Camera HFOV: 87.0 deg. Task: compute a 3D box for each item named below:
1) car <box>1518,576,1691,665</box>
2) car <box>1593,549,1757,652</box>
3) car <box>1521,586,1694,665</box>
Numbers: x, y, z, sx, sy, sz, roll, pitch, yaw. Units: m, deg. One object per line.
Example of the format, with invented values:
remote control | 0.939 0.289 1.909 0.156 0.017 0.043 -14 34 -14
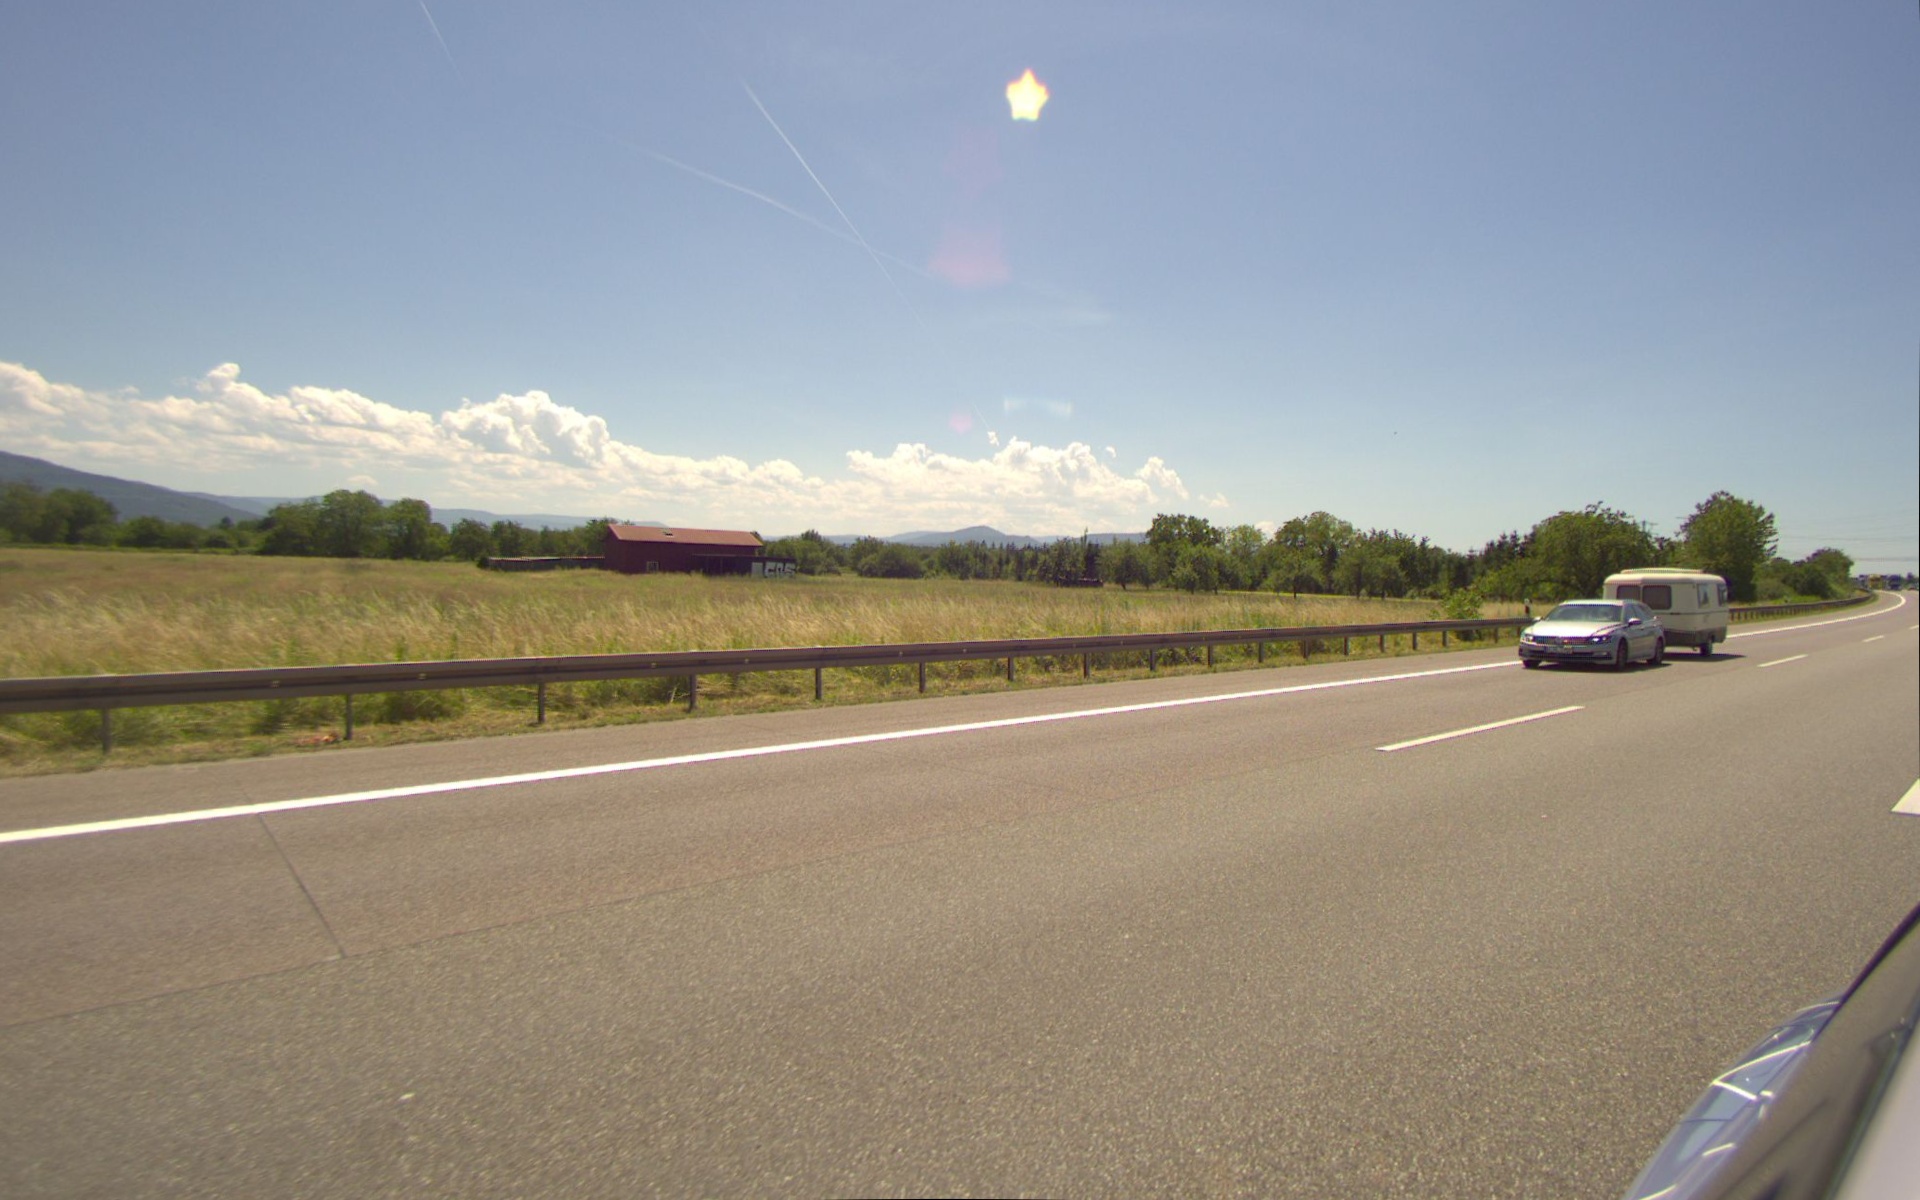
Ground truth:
car | 14.112 0.392 21.998 2.046 1.679 5.420 2 1 45
car | 18.305 0.039 25.823 5.232 2.351 2.444 1 -1 -43
car | 14.187 0.479 22.017 5.288 1.534 1.889 0 0 -43
